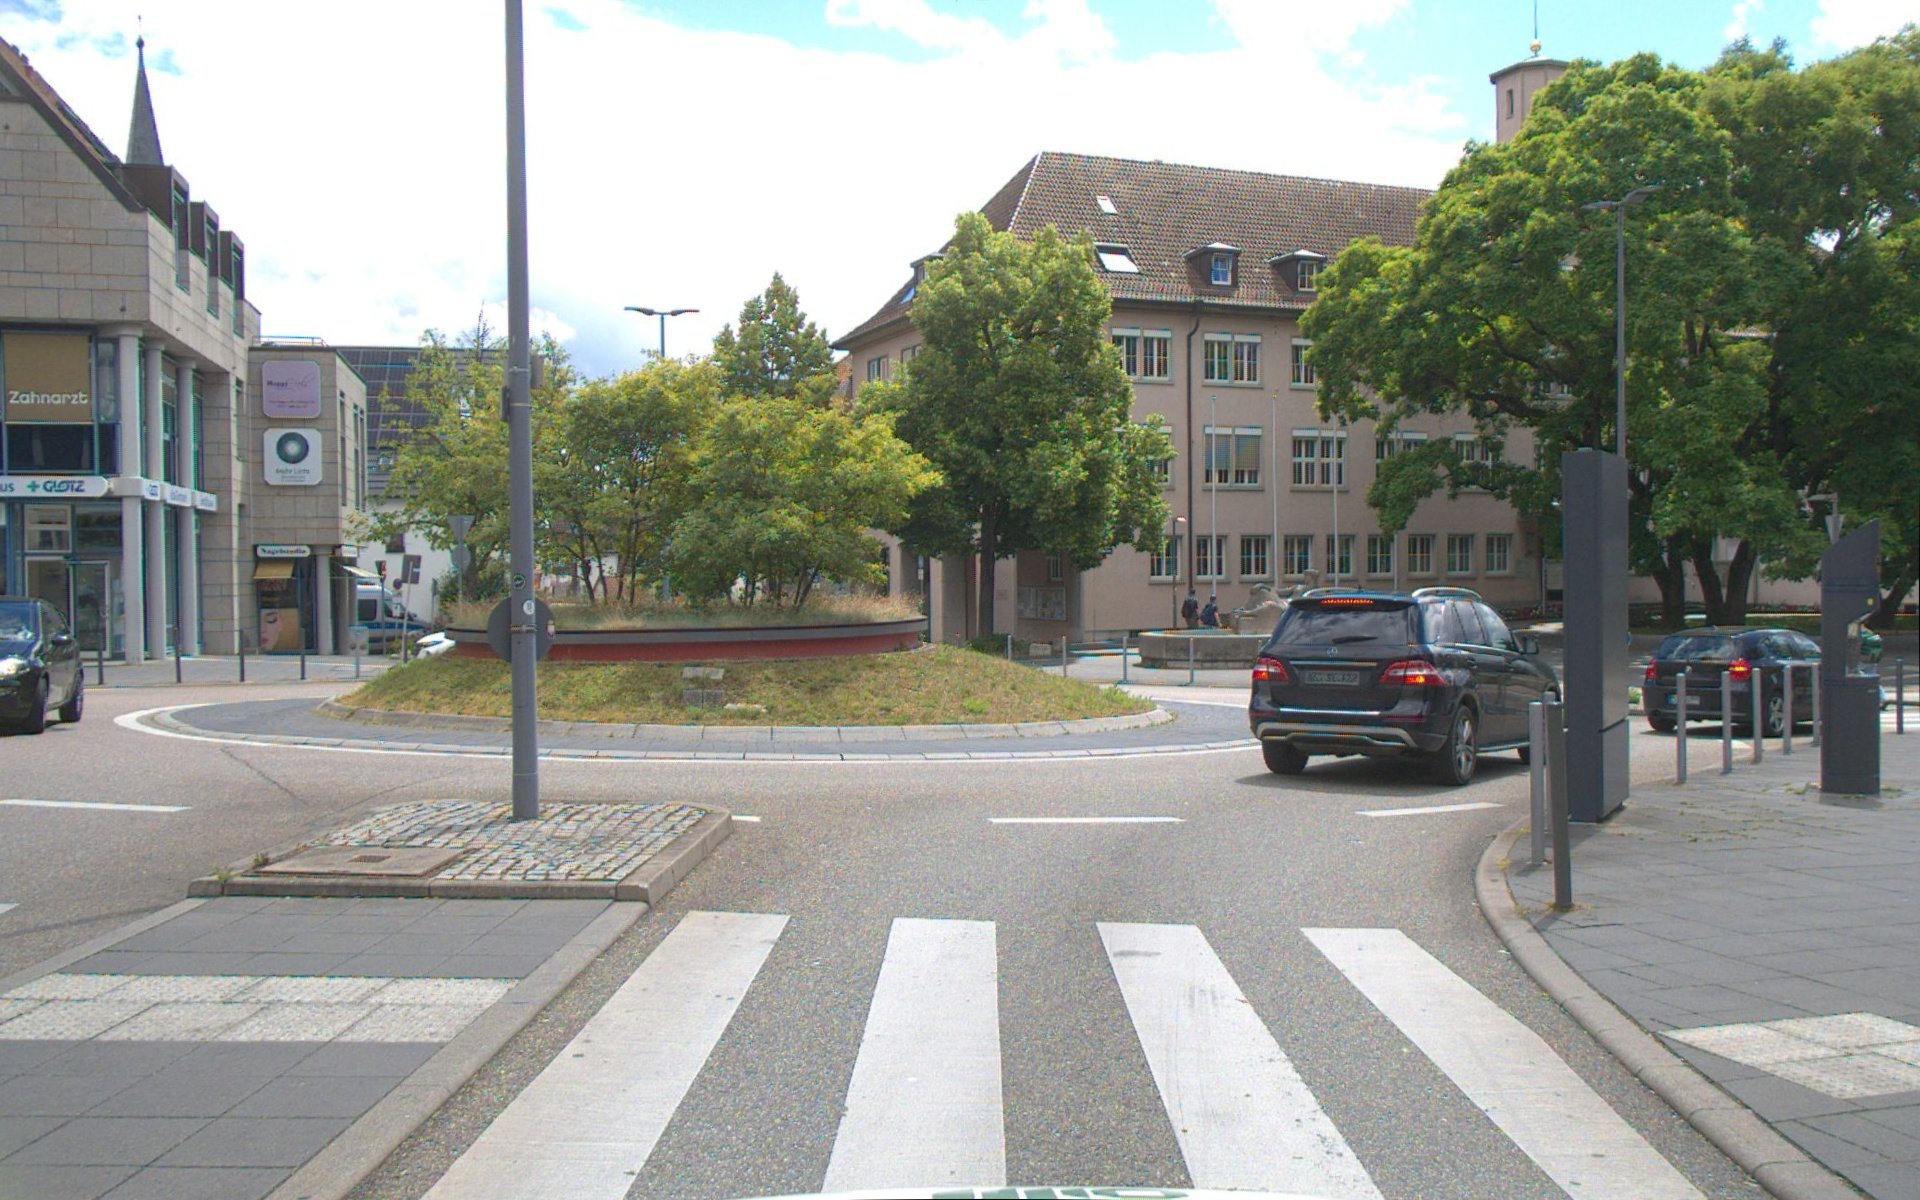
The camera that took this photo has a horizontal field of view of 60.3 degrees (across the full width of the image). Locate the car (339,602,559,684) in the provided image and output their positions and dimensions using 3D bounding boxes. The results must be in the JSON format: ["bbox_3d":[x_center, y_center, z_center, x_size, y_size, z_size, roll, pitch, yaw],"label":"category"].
[{"bbox_3d":[-11.128,0.929,36.155,4.164,1.604,1.851,-2,0,7],"label":"car"}]

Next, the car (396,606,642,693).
[{"bbox_3d":[-8.615,0.948,32.509,4.332,1.608,1.838,1,-2,-39],"label":"car"}]

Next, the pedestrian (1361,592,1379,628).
[{"bbox_3d":[13.859,0.339,55.926,0.477,1.203,0.580,1,0,27],"label":"pedestrian"}]

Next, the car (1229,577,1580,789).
[{"bbox_3d":[4.550,0.742,16.431,1.992,1.757,4.418,2,0,34],"label":"car"}]

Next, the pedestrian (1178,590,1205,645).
[{"bbox_3d":[6.733,0.505,48.057,0.624,1.549,0.577,1,4,-5],"label":"pedestrian"}]

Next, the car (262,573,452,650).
[{"bbox_3d":[-21.900,0.476,60.145,6.217,2.605,2.184,2,-4,-30],"label":"car"}]

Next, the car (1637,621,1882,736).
[{"bbox_3d":[11.059,1.019,22.793,3.798,1.407,1.591,0,0,-39],"label":"car"}]

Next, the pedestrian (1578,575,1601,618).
[{"bbox_3d":[22.515,-0.107,59.155,0.683,1.519,0.815,1,0,16],"label":"pedestrian"}]

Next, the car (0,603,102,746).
[{"bbox_3d":[-10.870,0.837,18.534,1.673,1.444,4.094,1,-3,-20],"label":"car"}]

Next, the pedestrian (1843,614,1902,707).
[{"bbox_3d":[15.655,1.027,28.387,0.540,1.540,0.787,-1,2,-6],"label":"pedestrian"}]

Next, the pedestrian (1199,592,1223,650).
[{"bbox_3d":[7.179,0.607,47.361,0.561,1.636,0.437,1,3,-5],"label":"pedestrian"}]
